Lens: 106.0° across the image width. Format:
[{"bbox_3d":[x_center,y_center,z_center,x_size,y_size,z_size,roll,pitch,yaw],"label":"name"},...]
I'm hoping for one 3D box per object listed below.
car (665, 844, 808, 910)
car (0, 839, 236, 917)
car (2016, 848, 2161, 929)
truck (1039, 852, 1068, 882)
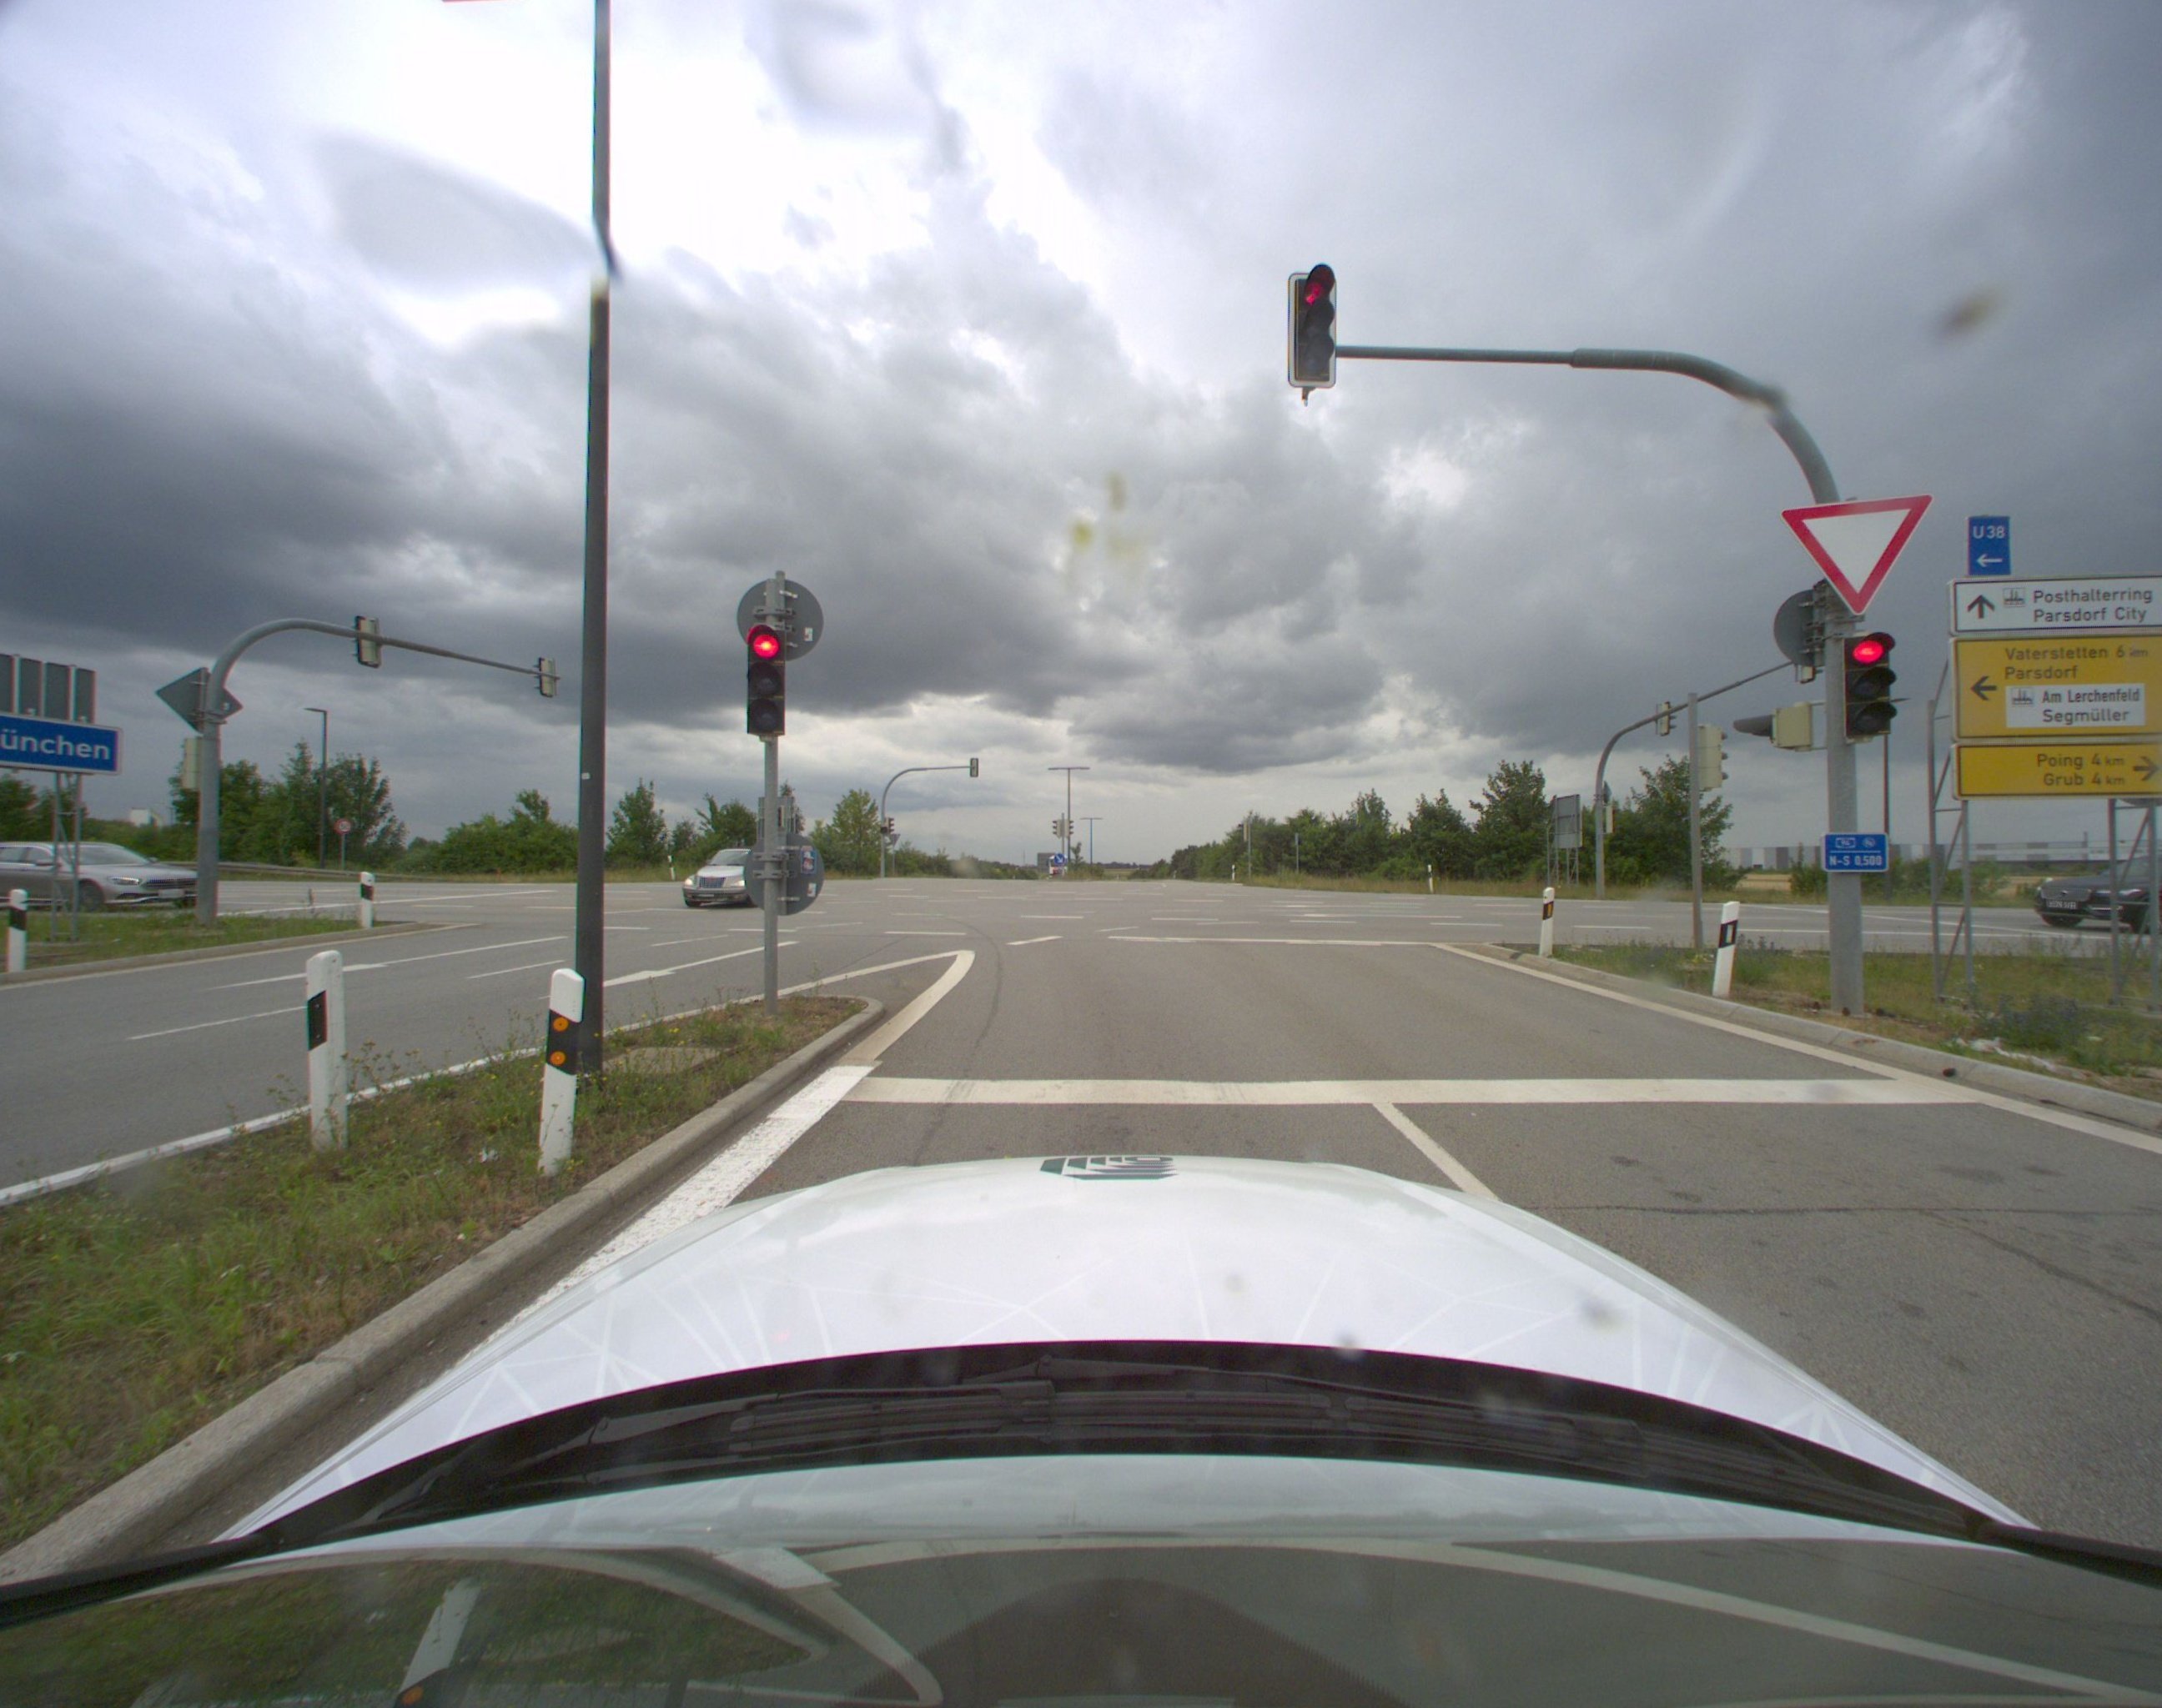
[{"bbox_3d":[-8.747,0.509,21.116,1.803,1.520,4.244,0,1,2],"label":"car"},{"bbox_3d":[-22.379,0.485,18.341,4.909,1.610,1.924,0,1,5],"label":"car"},{"bbox_3d":[24.102,0.740,17.627,4.951,1.684,2.006,0,0,10],"label":"car"},{"bbox_3d":[-3.189,1.618,96.920,2.858,3.408,8.654,0,-2,2],"label":"truck"}]
